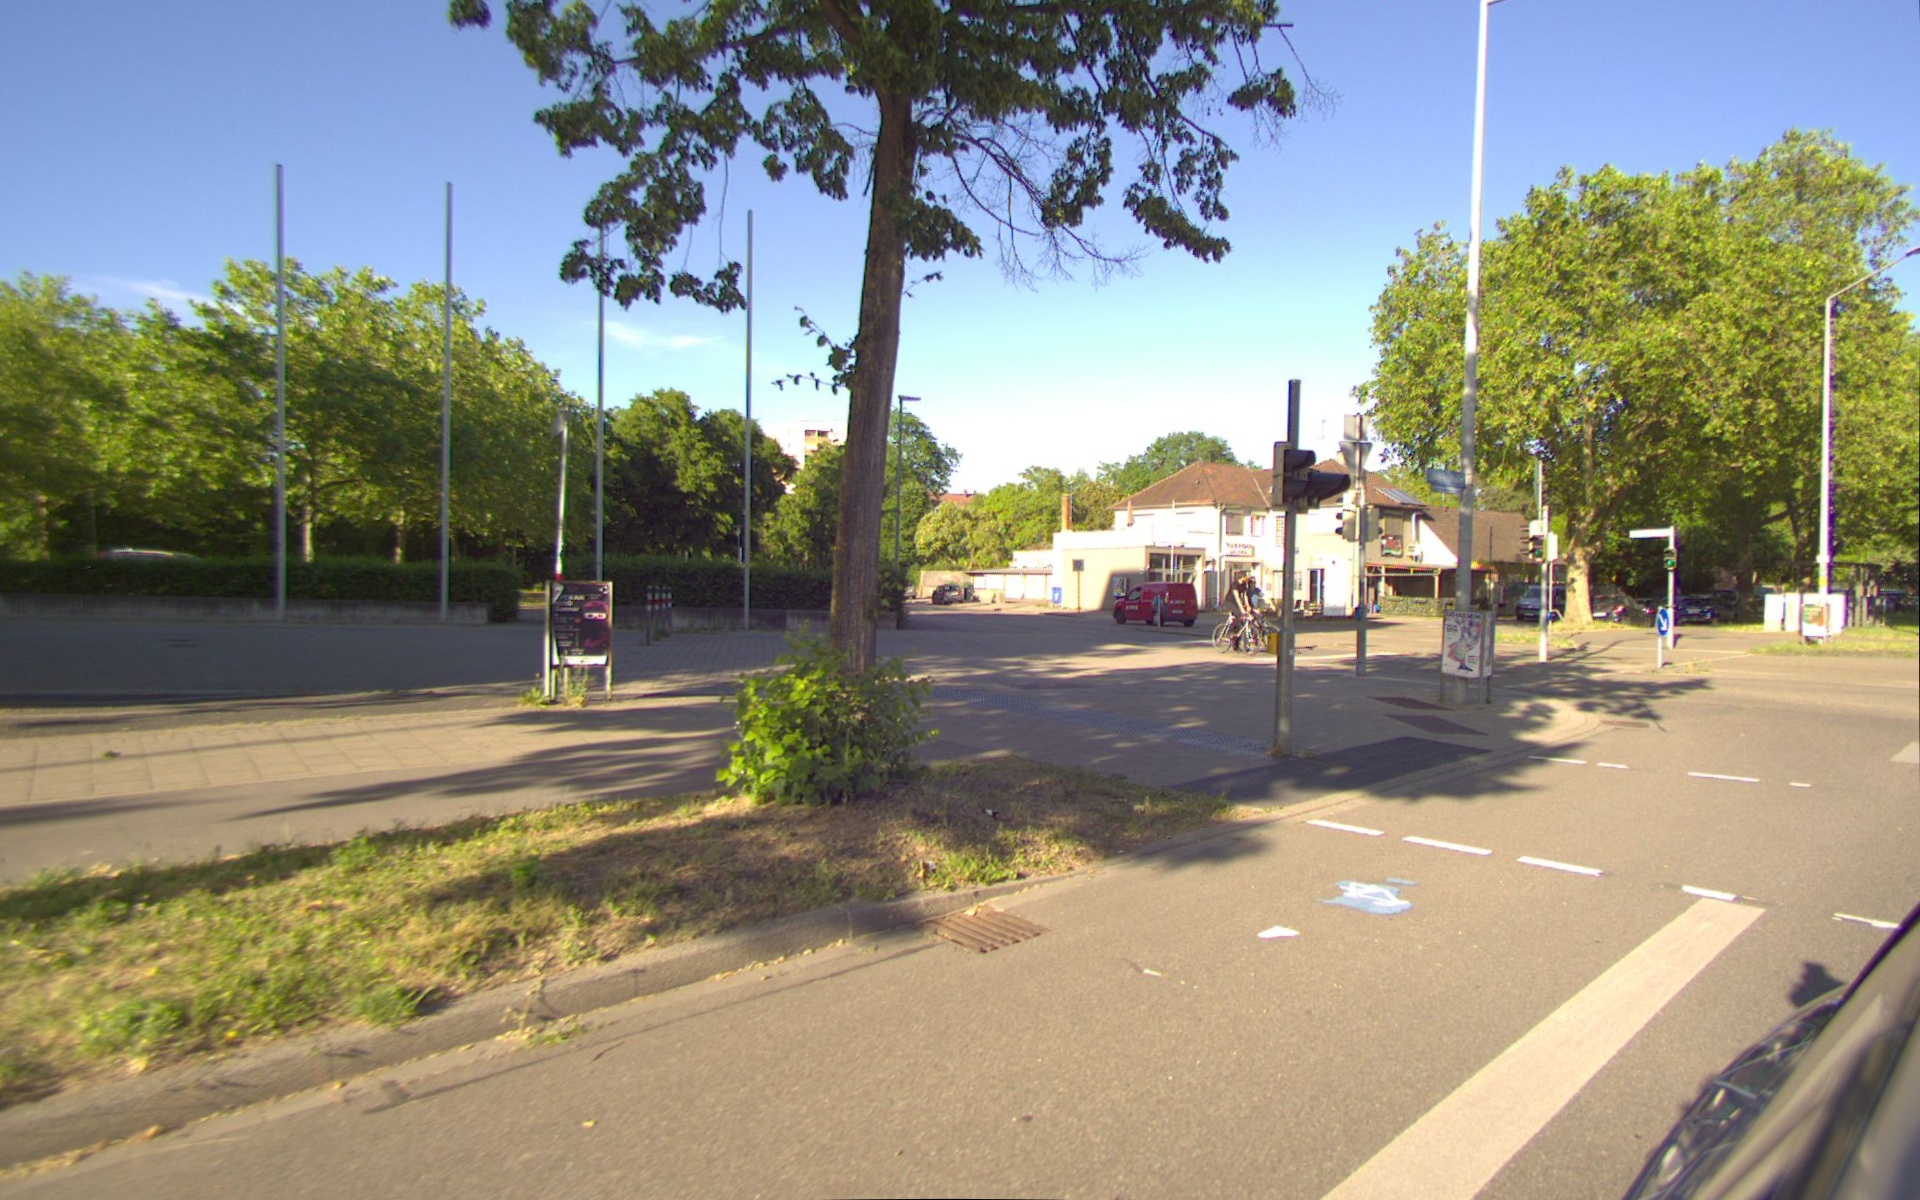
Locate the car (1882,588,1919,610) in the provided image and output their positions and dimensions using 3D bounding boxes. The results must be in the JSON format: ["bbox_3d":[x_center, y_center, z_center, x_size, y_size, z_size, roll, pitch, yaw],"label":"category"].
[{"bbox_3d":[71.620,-0.059,76.437,4.567,1.616,2.000,0,0,-36],"label":"car"}]

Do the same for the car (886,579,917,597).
[{"bbox_3d":[-5.063,-0.981,86.998,1.958,1.484,4.008,1,0,-14],"label":"car"}]

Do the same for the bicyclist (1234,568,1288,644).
[{"bbox_3d":[7.121,0.140,23.948,0.815,1.759,0.878,1,1,-30],"label":"bicyclist"}]

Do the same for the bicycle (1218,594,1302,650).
[{"bbox_3d":[7.096,0.503,24.030,0.540,1.219,2.107,1,1,-29],"label":"bicycle"}]

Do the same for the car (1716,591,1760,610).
[{"bbox_3d":[61.456,0.014,79.931,4.096,1.420,1.796,0,1,-38],"label":"car"}]

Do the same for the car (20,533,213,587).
[{"bbox_3d":[-25.042,-1.158,30.209,3.916,1.484,2.004,1,0,-12],"label":"car"}]

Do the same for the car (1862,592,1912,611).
[{"bbox_3d":[67.270,0.097,73.402,4.778,1.380,1.998,0,1,-39],"label":"car"}]

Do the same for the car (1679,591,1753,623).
[{"bbox_3d":[38.113,0.325,50.979,4.266,1.507,1.899,0,1,-37],"label":"car"}]

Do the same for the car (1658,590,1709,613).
[{"bbox_3d":[52.018,0.096,72.702,4.575,1.548,1.997,0,3,-42],"label":"car"}]

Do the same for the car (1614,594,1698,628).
[{"bbox_3d":[31.054,0.441,45.107,4.267,1.429,1.899,0,1,-38],"label":"car"}]

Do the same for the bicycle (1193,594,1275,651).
[{"bbox_3d":[6.336,0.504,23.506,0.540,1.219,2.108,1,1,-26],"label":"bicycle"}]

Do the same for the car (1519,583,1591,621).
[{"bbox_3d":[34.074,0.091,57.882,4.980,2.062,1.898,0,2,-39],"label":"car"}]

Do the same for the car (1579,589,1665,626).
[{"bbox_3d":[27.677,0.279,42.290,3.964,1.484,1.898,0,1,-39],"label":"car"}]

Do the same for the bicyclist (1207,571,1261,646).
[{"bbox_3d":[6.342,0.188,23.471,0.777,1.674,0.878,1,1,-30],"label":"bicyclist"}]

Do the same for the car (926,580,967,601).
[{"bbox_3d":[-1.052,-0.753,76.285,1.958,1.483,4.009,1,1,-19],"label":"car"}]

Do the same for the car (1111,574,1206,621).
[{"bbox_3d":[8.164,-0.090,42.009,1.816,1.838,4.121,2,-1,-24],"label":"car"}]

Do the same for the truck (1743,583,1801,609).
[{"bbox_3d":[68.728,-0.364,85.597,6.461,2.101,2.455,0,1,-39],"label":"truck"}]
